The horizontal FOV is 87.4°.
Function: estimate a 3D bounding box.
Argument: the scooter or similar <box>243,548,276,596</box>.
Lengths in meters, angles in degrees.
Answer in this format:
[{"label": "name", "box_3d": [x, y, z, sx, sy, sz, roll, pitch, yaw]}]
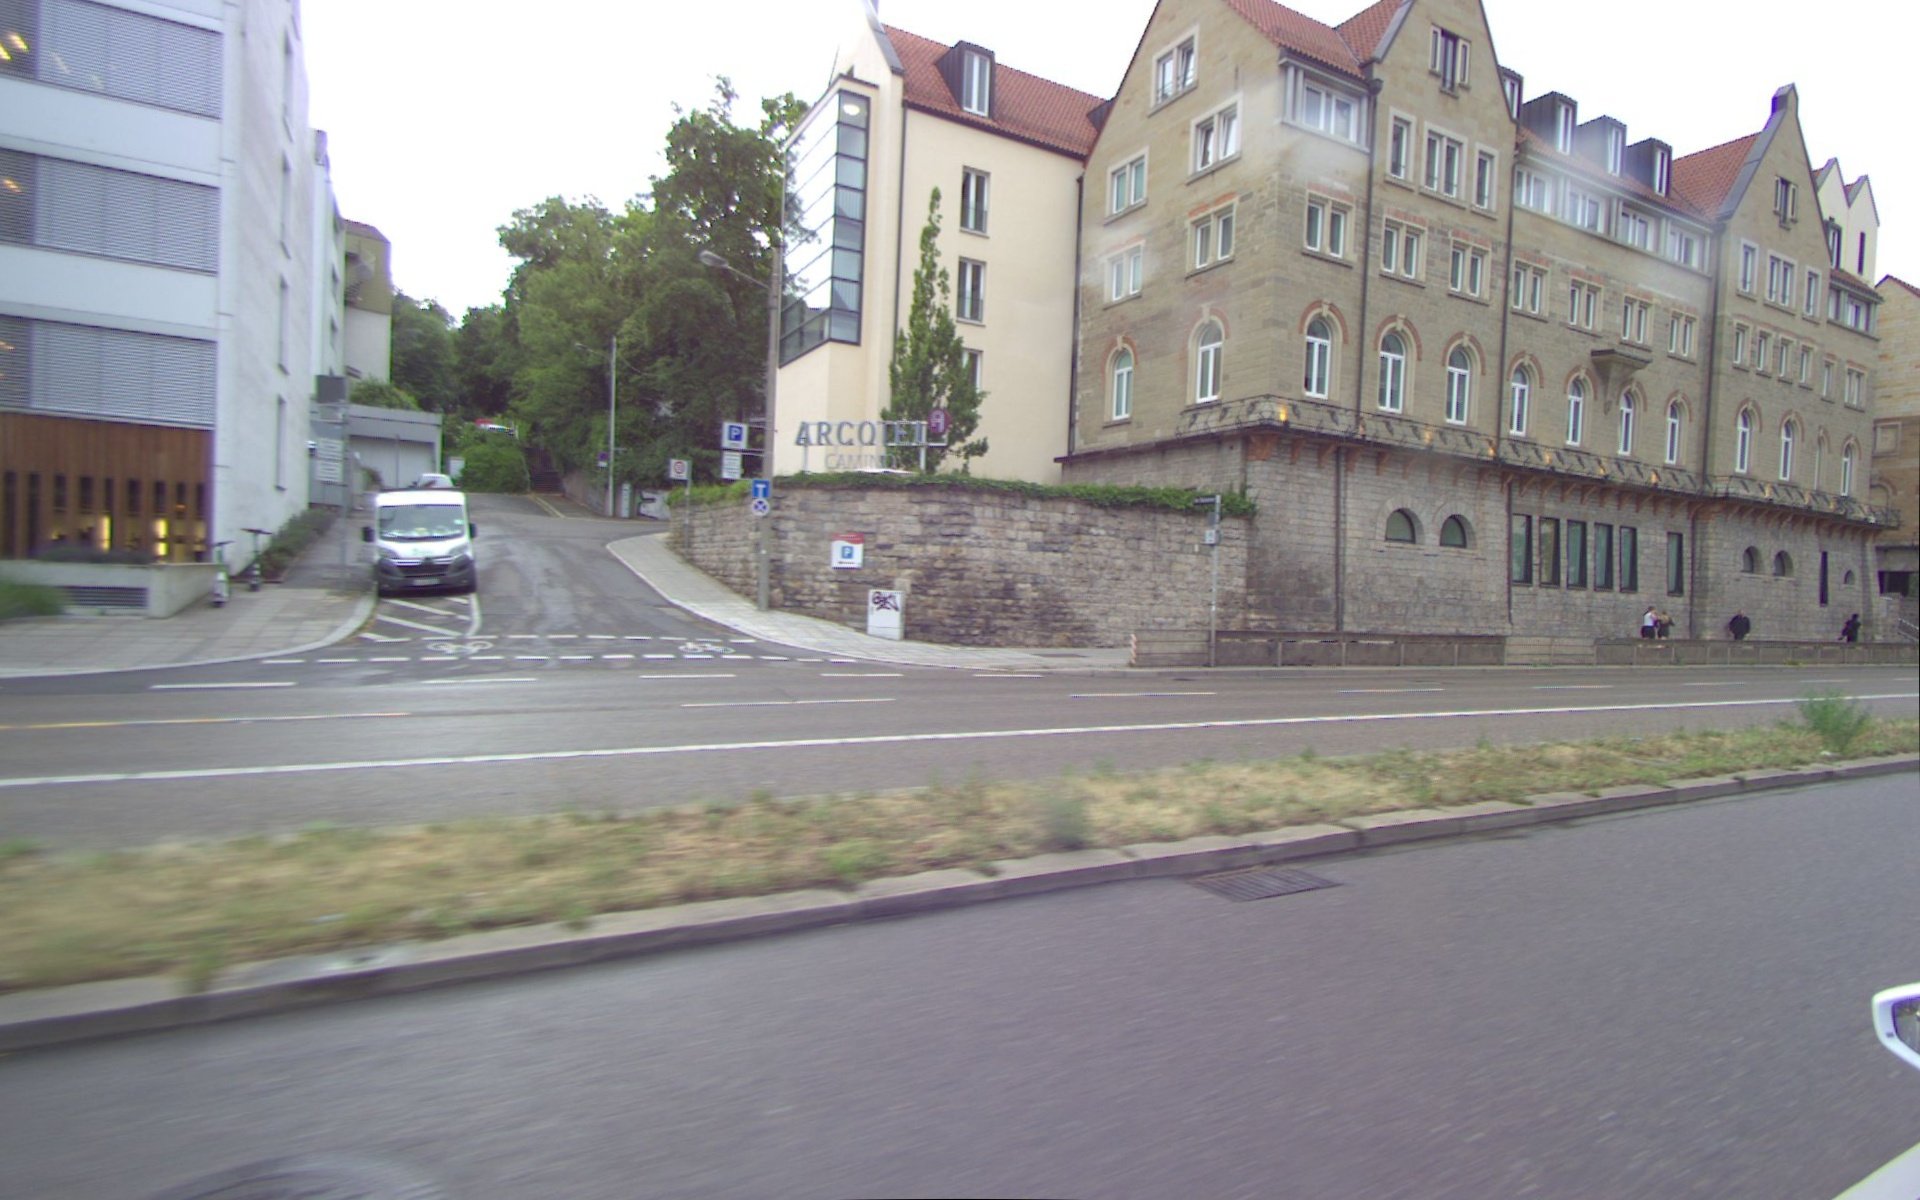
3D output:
[{"label": "scooter or similar", "box_3d": [-15.242, -0.620, 21.870, 0.439, 0.934, 1.461, 0, 6, -30]}]

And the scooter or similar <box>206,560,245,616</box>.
[{"label": "scooter or similar", "box_3d": [-14.271, -0.254, 19.540, 0.439, 0.934, 1.461, 0, 6, -30]}]

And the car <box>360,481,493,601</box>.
[{"label": "car", "box_3d": [-13.206, -1.671, 25.058, 2.481, 2.308, 6.873, -3, 9, -27]}]

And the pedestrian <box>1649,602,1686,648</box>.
[{"label": "pedestrian", "box_3d": [23.386, 0.812, 33.217, 0.705, 1.497, 0.751, 0, 1, -29]}]

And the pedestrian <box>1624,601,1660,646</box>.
[{"label": "pedestrian", "box_3d": [23.012, 0.789, 33.898, 0.705, 1.497, 0.751, 0, 1, -29]}]

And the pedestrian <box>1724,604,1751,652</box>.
[{"label": "pedestrian", "box_3d": [29.504, 1.052, 38.114, 0.614, 1.769, 0.637, 0, 1, -31]}]

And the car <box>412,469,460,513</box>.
[{"label": "car", "box_3d": [-23.860, -4.968, 45.689, 1.791, 1.707, 3.781, 0, 8, -30]}]

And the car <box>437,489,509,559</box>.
[{"label": "car", "box_3d": [-15.731, -2.498, 32.461, 1.974, 1.807, 3.973, 1, 9, -26]}]

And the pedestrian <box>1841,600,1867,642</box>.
[{"label": "pedestrian", "box_3d": [37.753, 0.882, 42.416, 0.614, 1.769, 0.637, 0, 1, -31]}]
